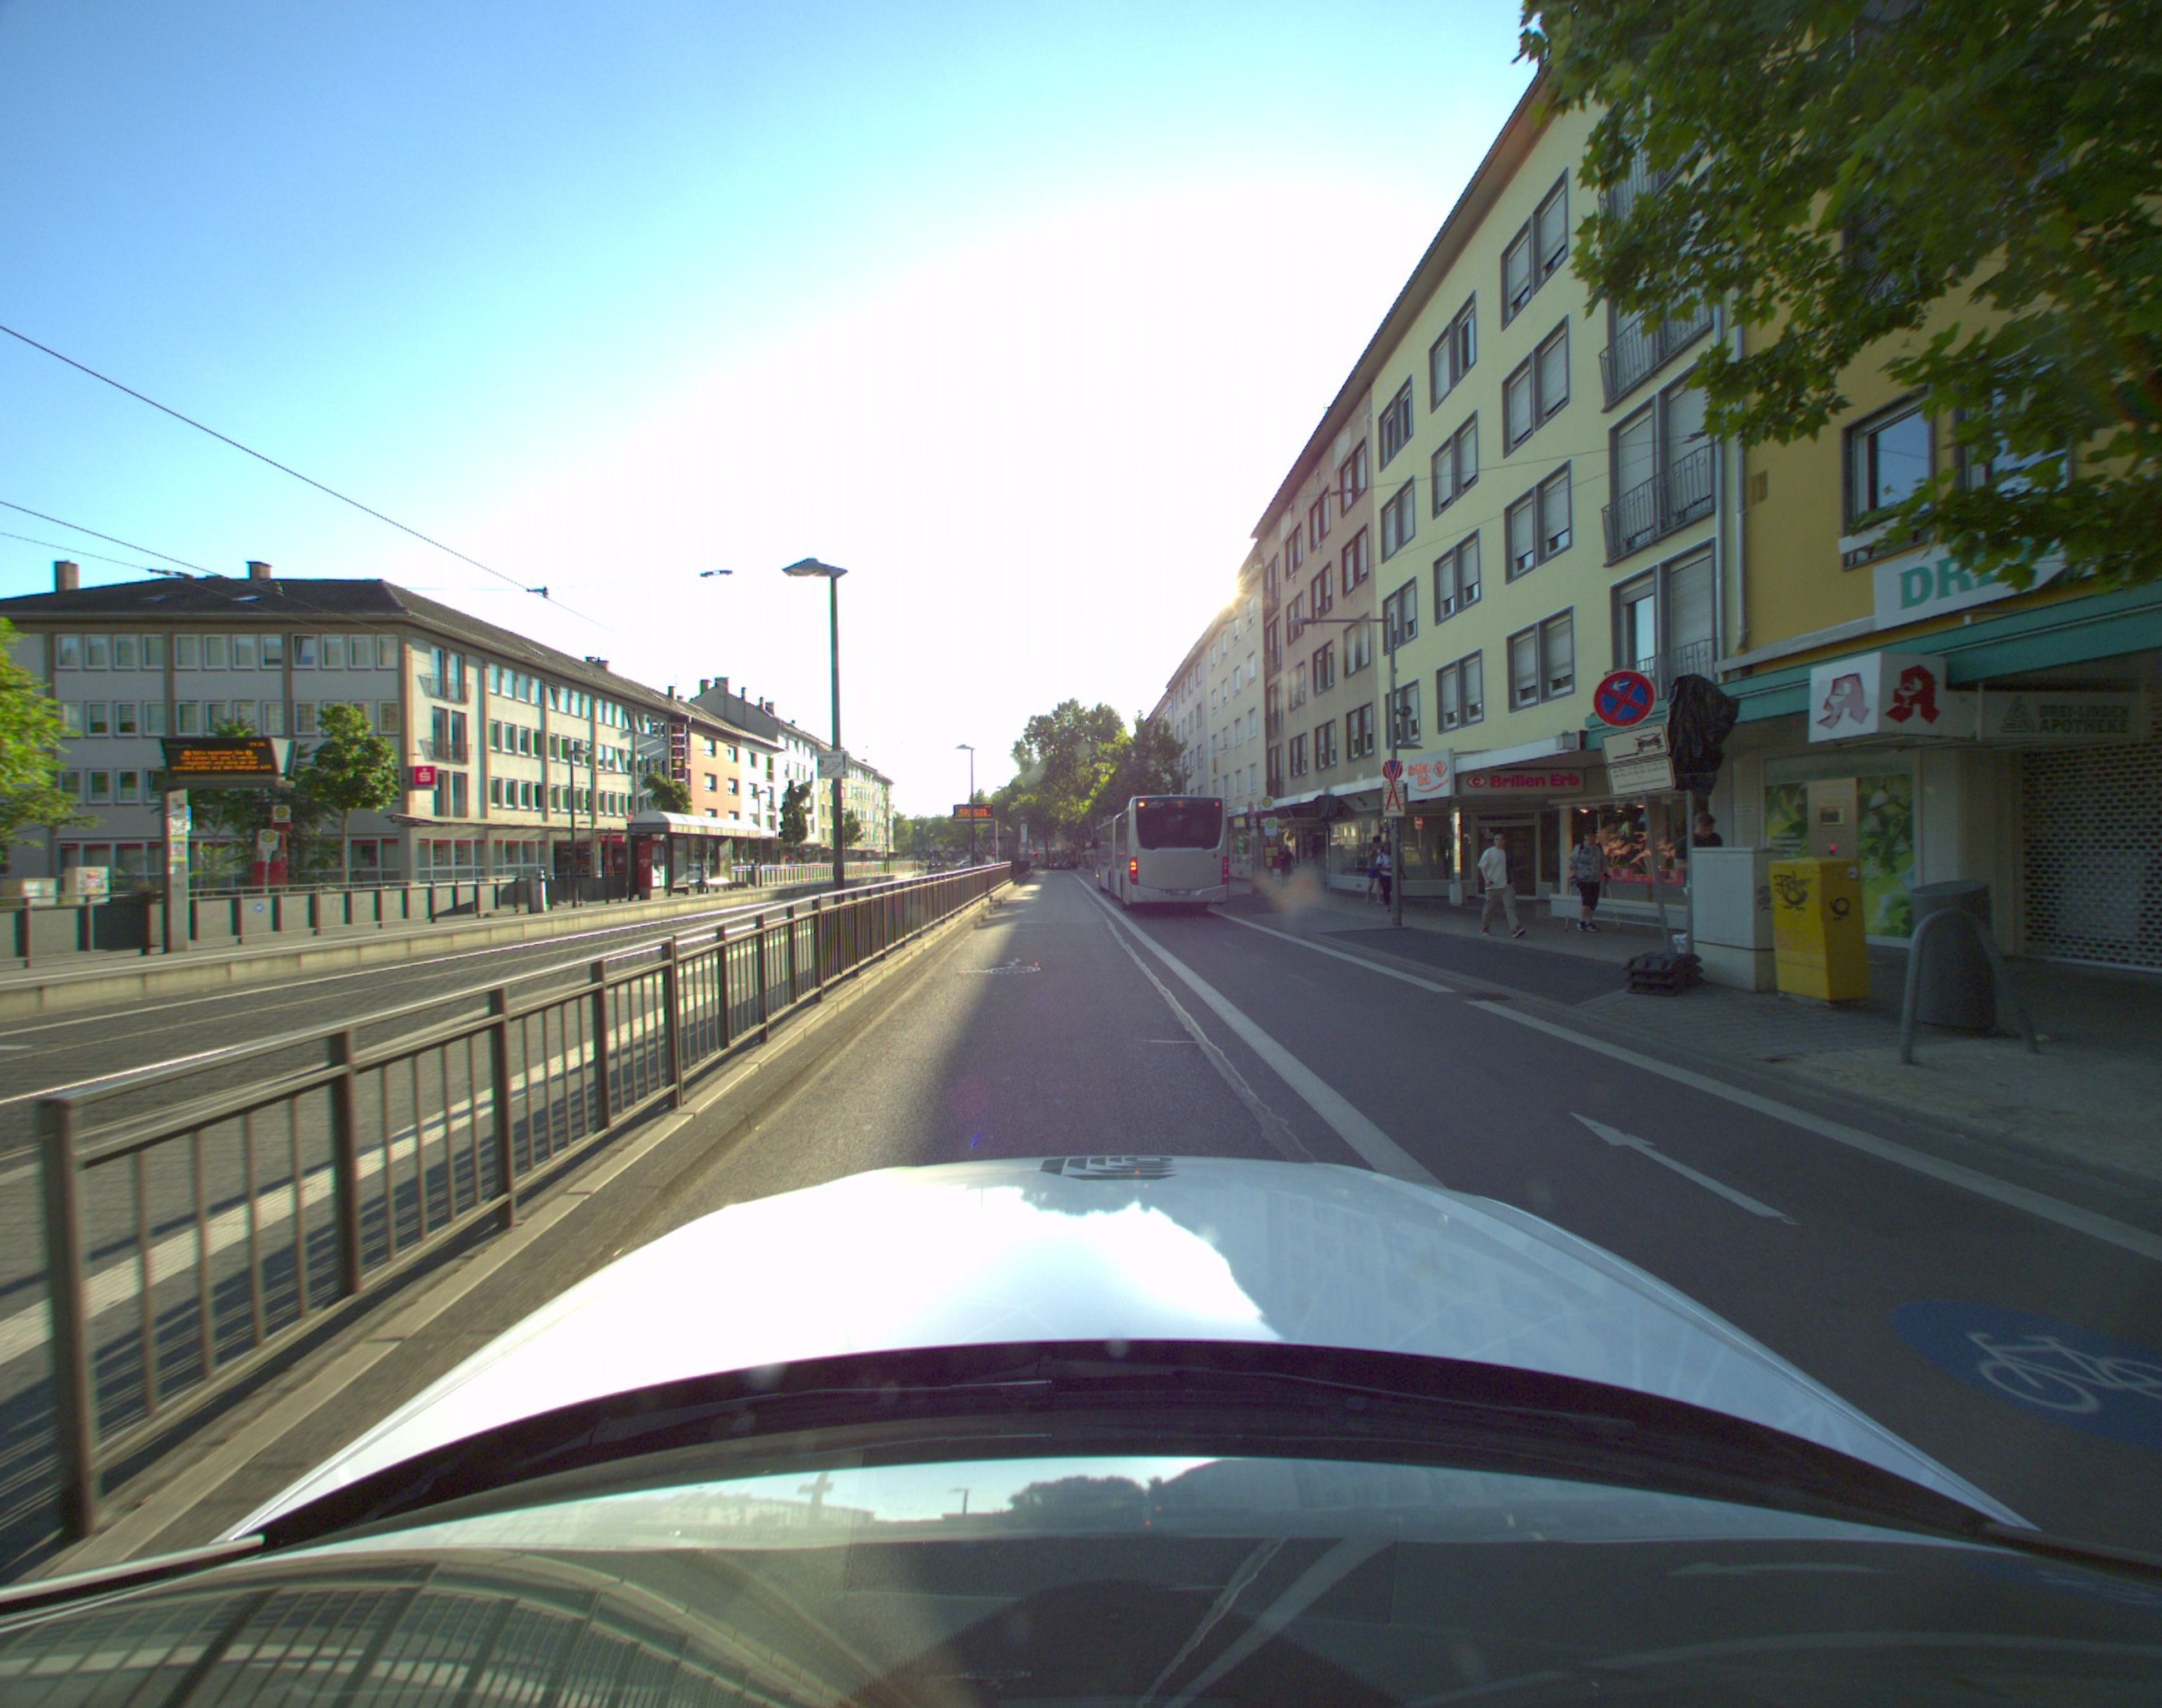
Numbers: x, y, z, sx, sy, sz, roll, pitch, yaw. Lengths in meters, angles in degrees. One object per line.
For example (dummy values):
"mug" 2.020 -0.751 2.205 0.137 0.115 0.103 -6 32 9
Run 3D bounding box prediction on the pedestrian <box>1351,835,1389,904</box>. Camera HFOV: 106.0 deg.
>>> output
"pedestrian" 7.851 0.415 22.143 0.721 1.840 0.766 -1 -1 -2

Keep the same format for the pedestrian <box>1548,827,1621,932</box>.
"pedestrian" 8.573 0.421 13.897 0.721 1.723 0.766 -1 -1 -2

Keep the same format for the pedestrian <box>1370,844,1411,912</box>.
"pedestrian" 7.420 0.564 19.536 0.609 1.578 0.850 -1 -1 -2

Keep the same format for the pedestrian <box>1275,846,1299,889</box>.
"pedestrian" 8.069 0.533 31.911 0.721 1.632 0.766 -1 -1 -2

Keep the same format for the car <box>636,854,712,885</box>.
"car" -23.680 0.875 47.495 1.748 1.679 3.533 -1 0 37

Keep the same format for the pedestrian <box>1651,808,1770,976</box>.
"pedestrian" 7.129 0.415 9.255 0.721 1.807 0.766 -1 -1 -2

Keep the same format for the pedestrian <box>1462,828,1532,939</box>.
"pedestrian" 6.929 0.484 13.587 0.721 1.779 0.766 -1 -1 -2

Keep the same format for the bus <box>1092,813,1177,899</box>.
"bus" 2.012 0.078 33.913 2.689 3.118 9.063 0 0 -2

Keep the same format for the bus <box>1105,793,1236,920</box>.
"bus" 2.332 0.062 24.719 2.689 3.118 9.374 0 0 -2
